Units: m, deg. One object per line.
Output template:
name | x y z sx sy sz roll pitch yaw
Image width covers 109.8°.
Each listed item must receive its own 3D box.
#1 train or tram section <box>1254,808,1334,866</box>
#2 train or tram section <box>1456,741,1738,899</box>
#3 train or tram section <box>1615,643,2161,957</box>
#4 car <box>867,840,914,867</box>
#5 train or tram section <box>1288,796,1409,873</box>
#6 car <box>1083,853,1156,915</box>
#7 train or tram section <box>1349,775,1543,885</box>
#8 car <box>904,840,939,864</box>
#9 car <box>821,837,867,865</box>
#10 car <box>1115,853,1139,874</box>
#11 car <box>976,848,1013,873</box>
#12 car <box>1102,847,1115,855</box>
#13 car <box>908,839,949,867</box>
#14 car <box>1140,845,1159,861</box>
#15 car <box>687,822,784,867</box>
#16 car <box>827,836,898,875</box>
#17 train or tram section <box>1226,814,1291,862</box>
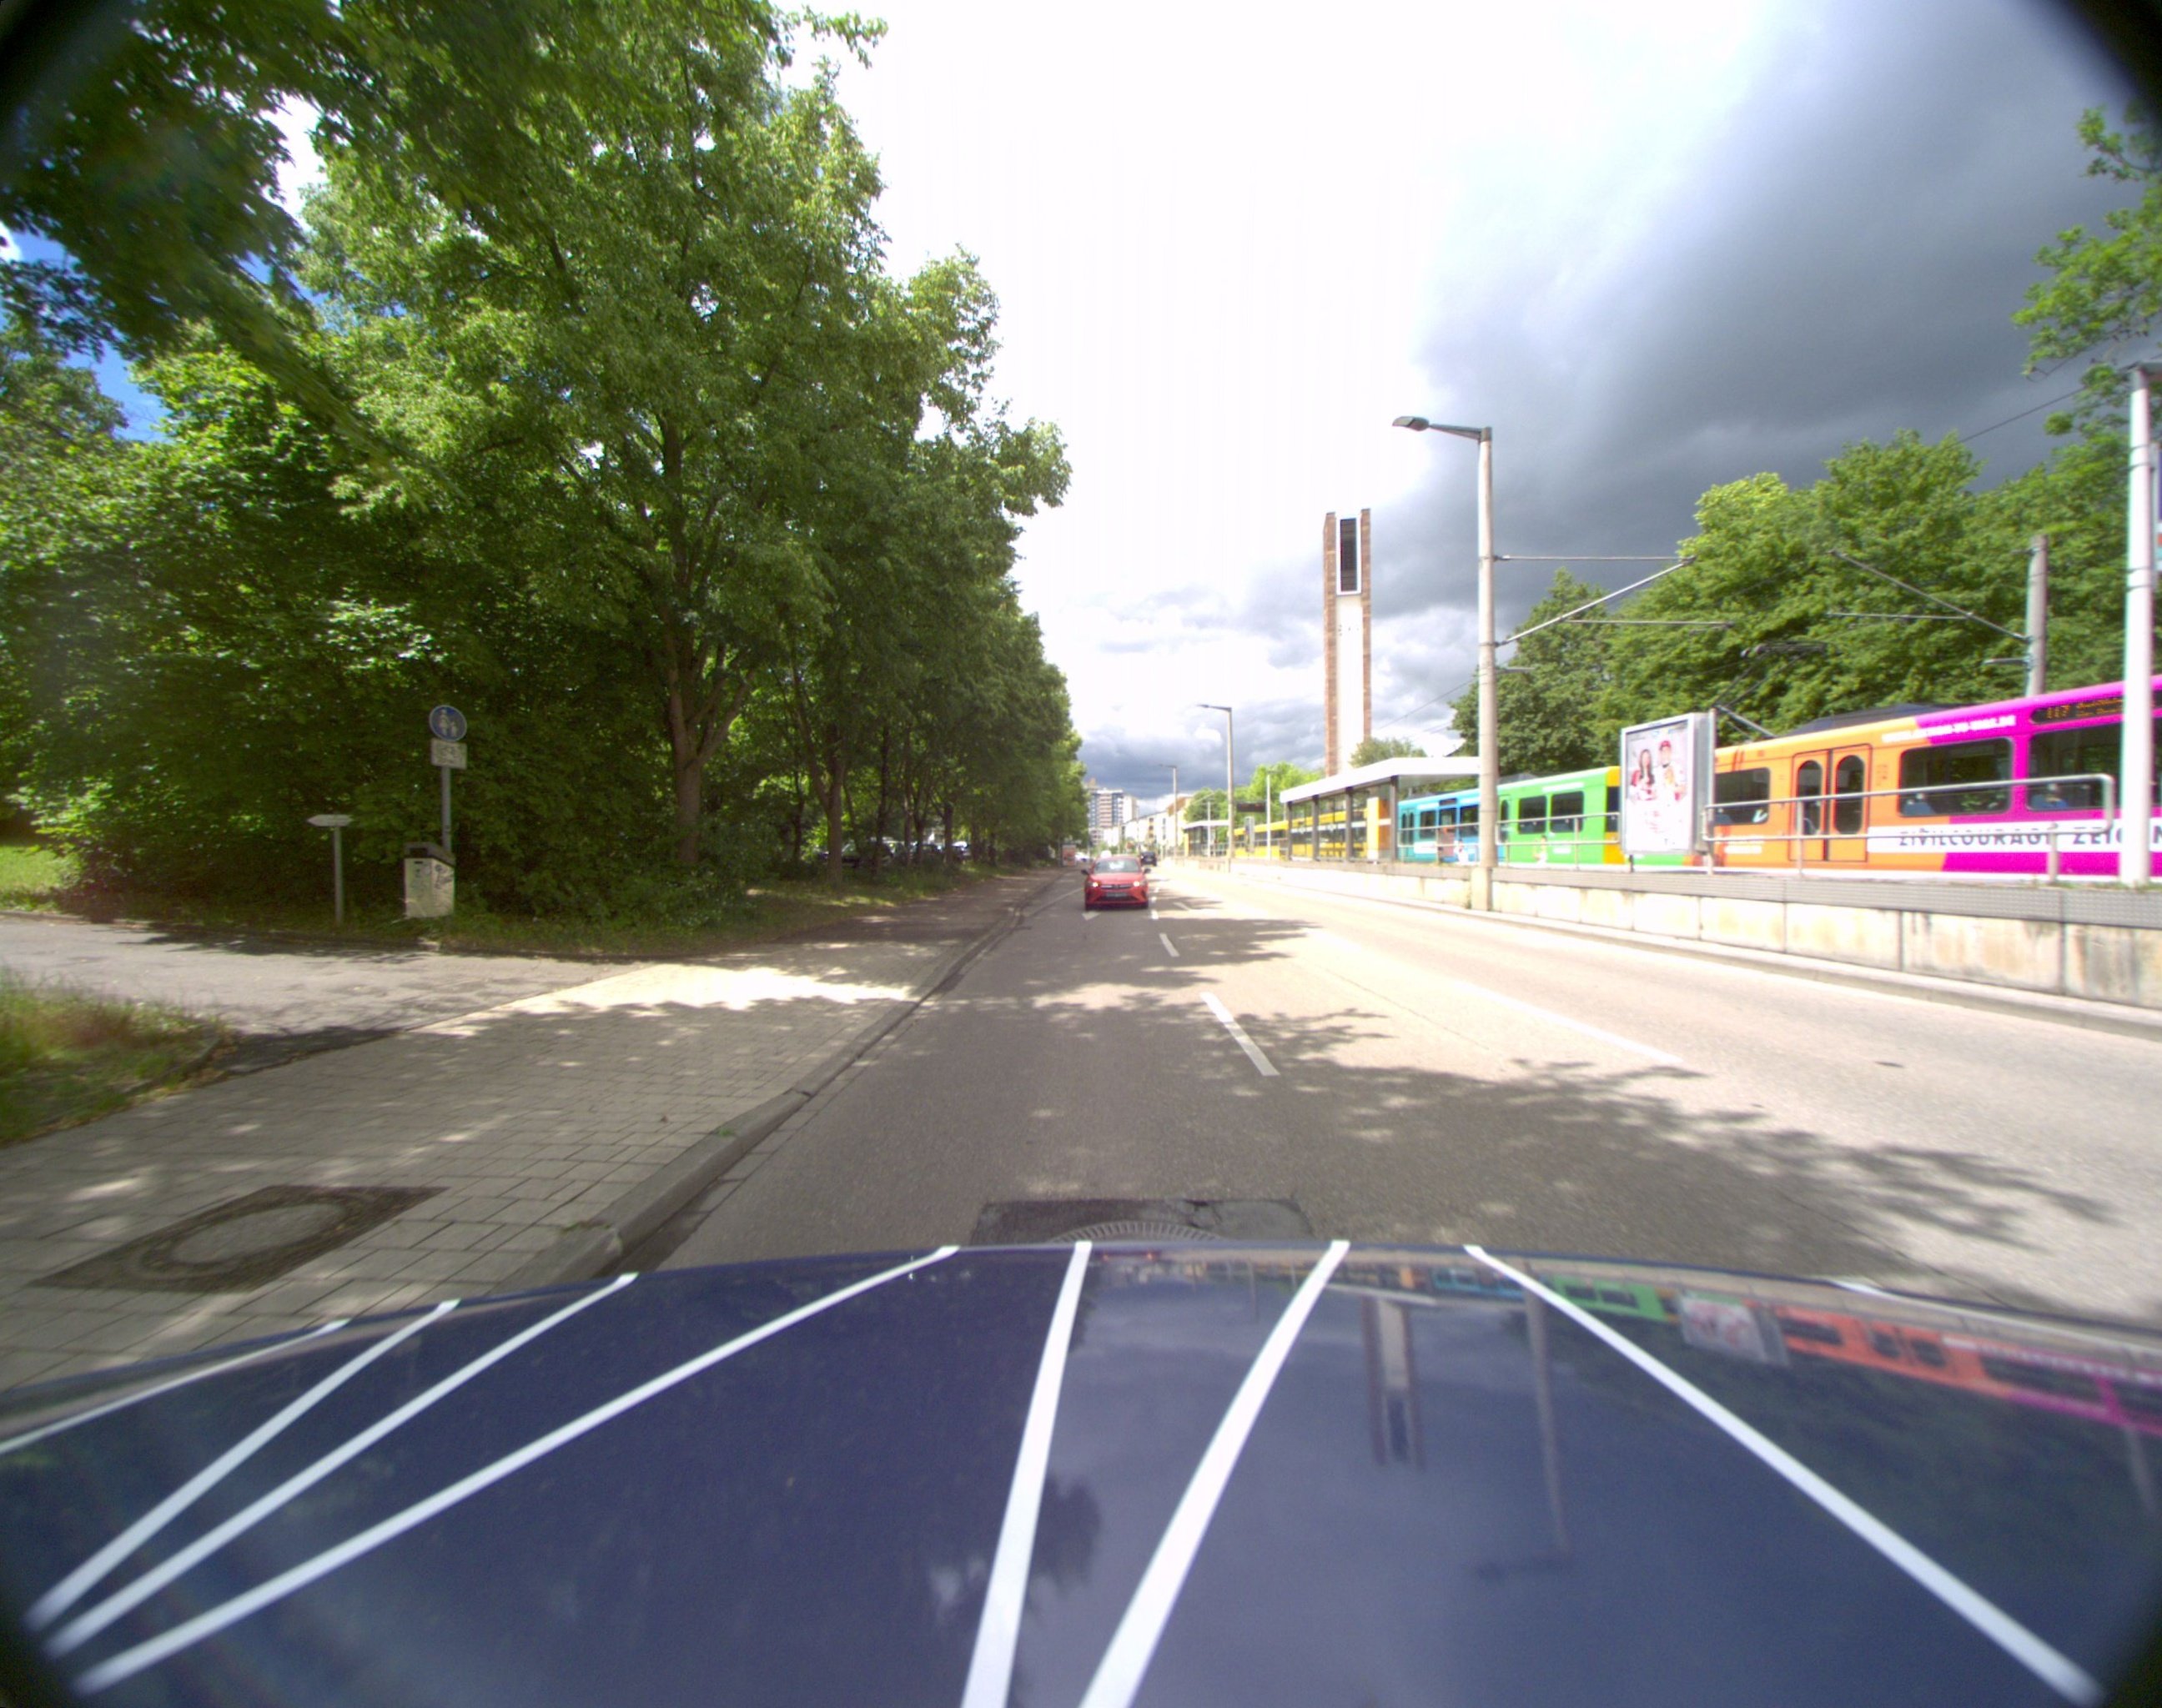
train or tram section | 15.670 -1.215 56.972 2.988 3.840 11.106 -2 1 1
train or tram section | 14.999 -0.888 23.222 2.988 3.840 8.377 -2 1 1
train or tram section | 14.726 -0.720 9.741 2.988 3.840 18.536 -2 1 1
car | -11.282 -0.048 45.157 1.656 1.533 3.676 1 1 3
train or tram section | 15.453 -1.070 45.265 2.988 3.840 12.199 -2 1 1
car | 1.059 0.736 20.860 1.756 1.433 4.226 -1 1 3
train or tram section | 15.241 -0.922 33.297 2.988 3.840 11.785 -2 1 1
car | -11.055 -0.172 52.999 1.656 1.533 3.625 -1 1 0
car | -13.753 -0.201 44.218 1.656 1.533 3.674 -2 1 -3
car | 3.481 0.666 57.859 1.756 1.433 4.226 -1 1 3
car | -5.819 0.419 51.605 1.655 1.533 3.677 -1 1 6
car | 5.207 -0.563 143.236 1.822 1.433 4.006 -2 1 -7
car | -8.966 -0.081 44.954 1.756 1.533 4.224 -2 1 -3
car | 6.961 -0.121 77.786 1.756 1.603 4.226 -1 1 3
car | -12.753 -0.359 28.295 1.655 1.533 3.627 -1 1 5
car | -9.177 0.032 32.252 1.756 1.533 3.676 -1 1 3
train or tram section | 15.894 -1.365 69.140 2.988 3.840 13.149 -2 1 1
